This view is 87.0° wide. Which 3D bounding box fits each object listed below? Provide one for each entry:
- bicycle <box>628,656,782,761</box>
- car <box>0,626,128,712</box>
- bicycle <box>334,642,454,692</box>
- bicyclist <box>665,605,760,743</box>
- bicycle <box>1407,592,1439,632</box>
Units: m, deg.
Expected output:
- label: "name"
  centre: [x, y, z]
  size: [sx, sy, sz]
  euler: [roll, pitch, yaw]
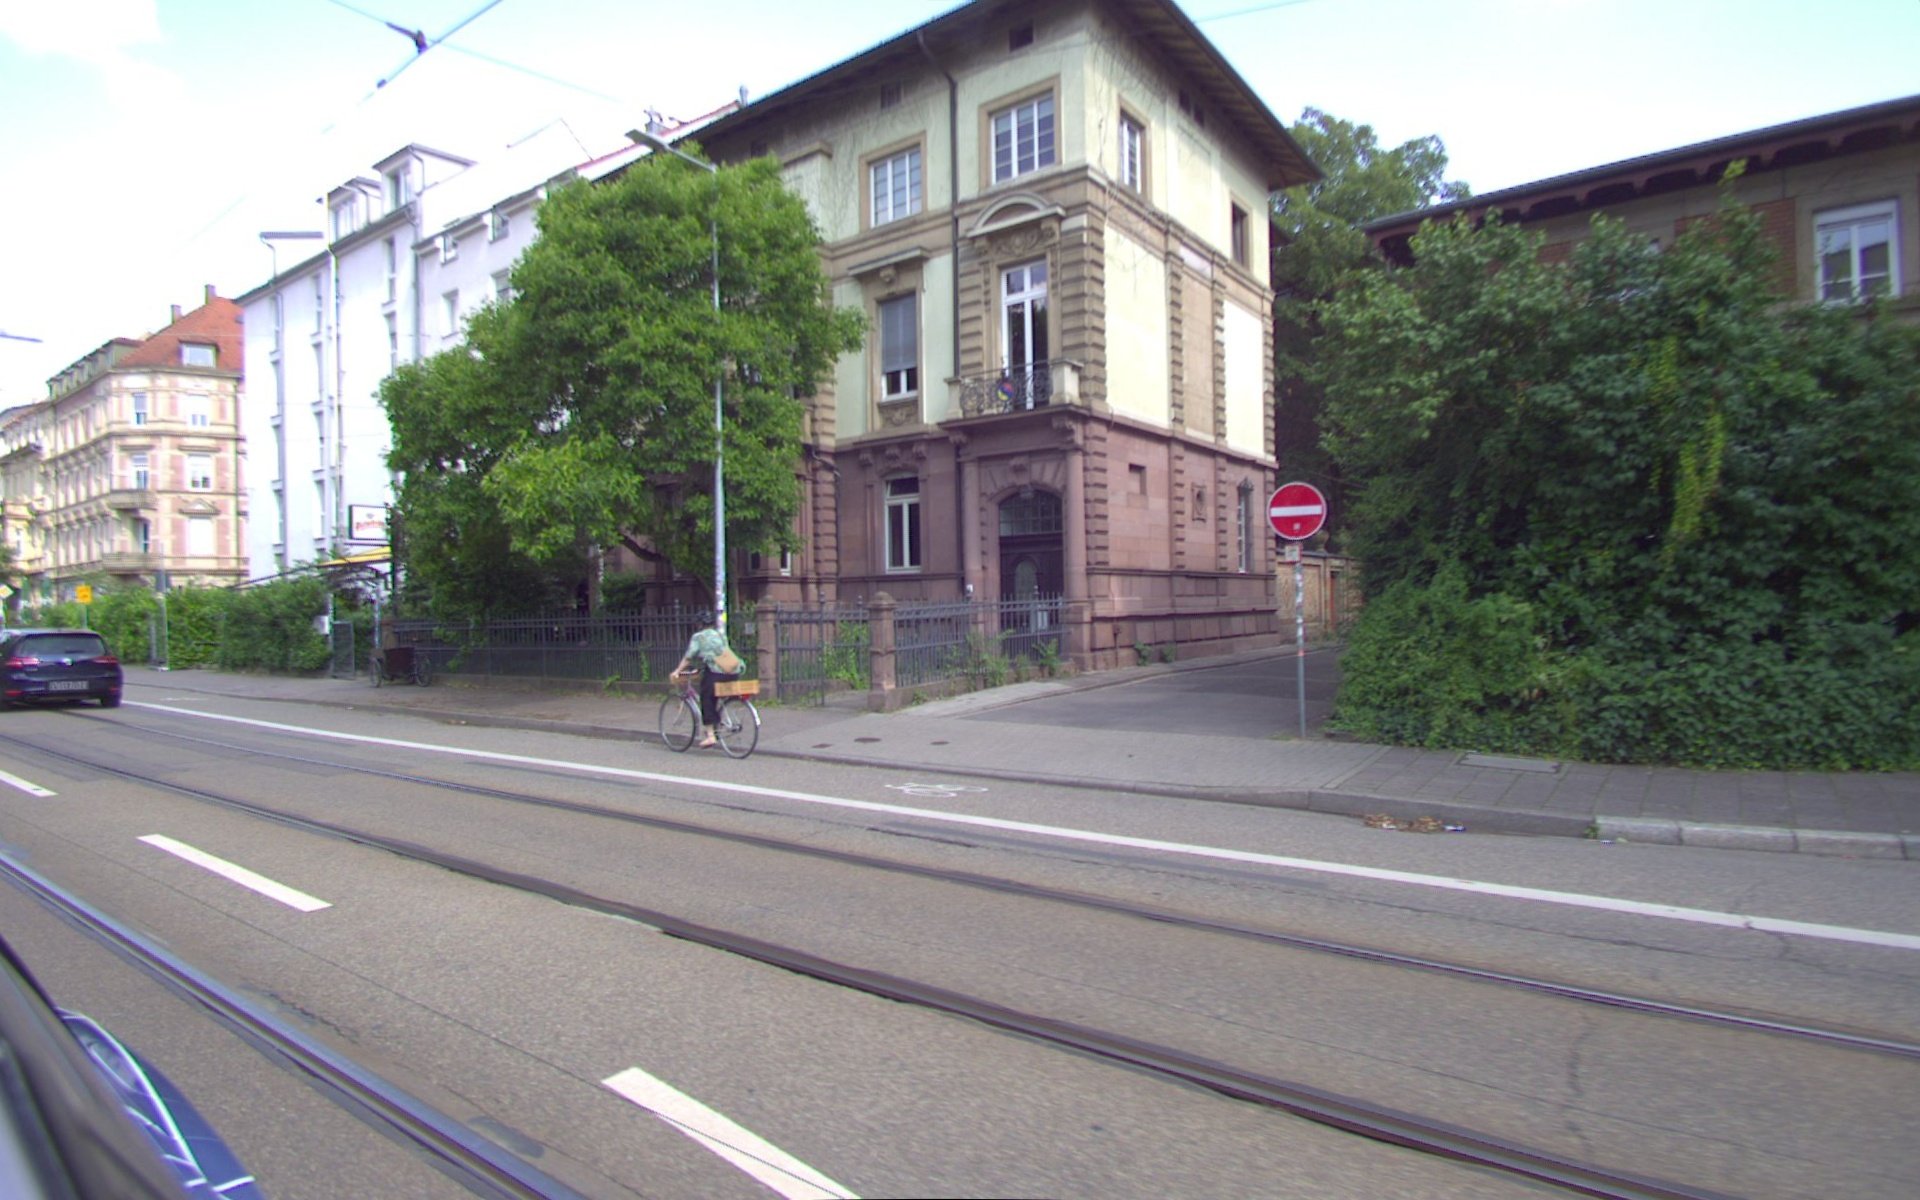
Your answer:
- label: "bicycle"
  centre: [-2.967, 1.217, 11.679]
  size: [2.020, 1.106, 0.596]
  euler: [-2, -7, 40]
- label: "car"
  centre: [-16.855, 1.205, 18.446]
  size: [3.923, 1.412, 1.673]
  euler: [-1, -3, 36]
- label: "bicycle"
  centre: [-12.418, 1.434, 22.153]
  size: [2.983, 0.915, 1.132]
  euler: [-2, 2, 37]
- label: "bicyclist"
  centre: [-2.841, 0.850, 11.610]
  size: [0.881, 1.504, 0.593]
  euler: [-3, -7, 40]
- label: "bicycle"
  centre: [17.965, 0.456, 39.213]
  size: [0.754, 1.497, 2.471]
  euler: [-2, 0, 33]
